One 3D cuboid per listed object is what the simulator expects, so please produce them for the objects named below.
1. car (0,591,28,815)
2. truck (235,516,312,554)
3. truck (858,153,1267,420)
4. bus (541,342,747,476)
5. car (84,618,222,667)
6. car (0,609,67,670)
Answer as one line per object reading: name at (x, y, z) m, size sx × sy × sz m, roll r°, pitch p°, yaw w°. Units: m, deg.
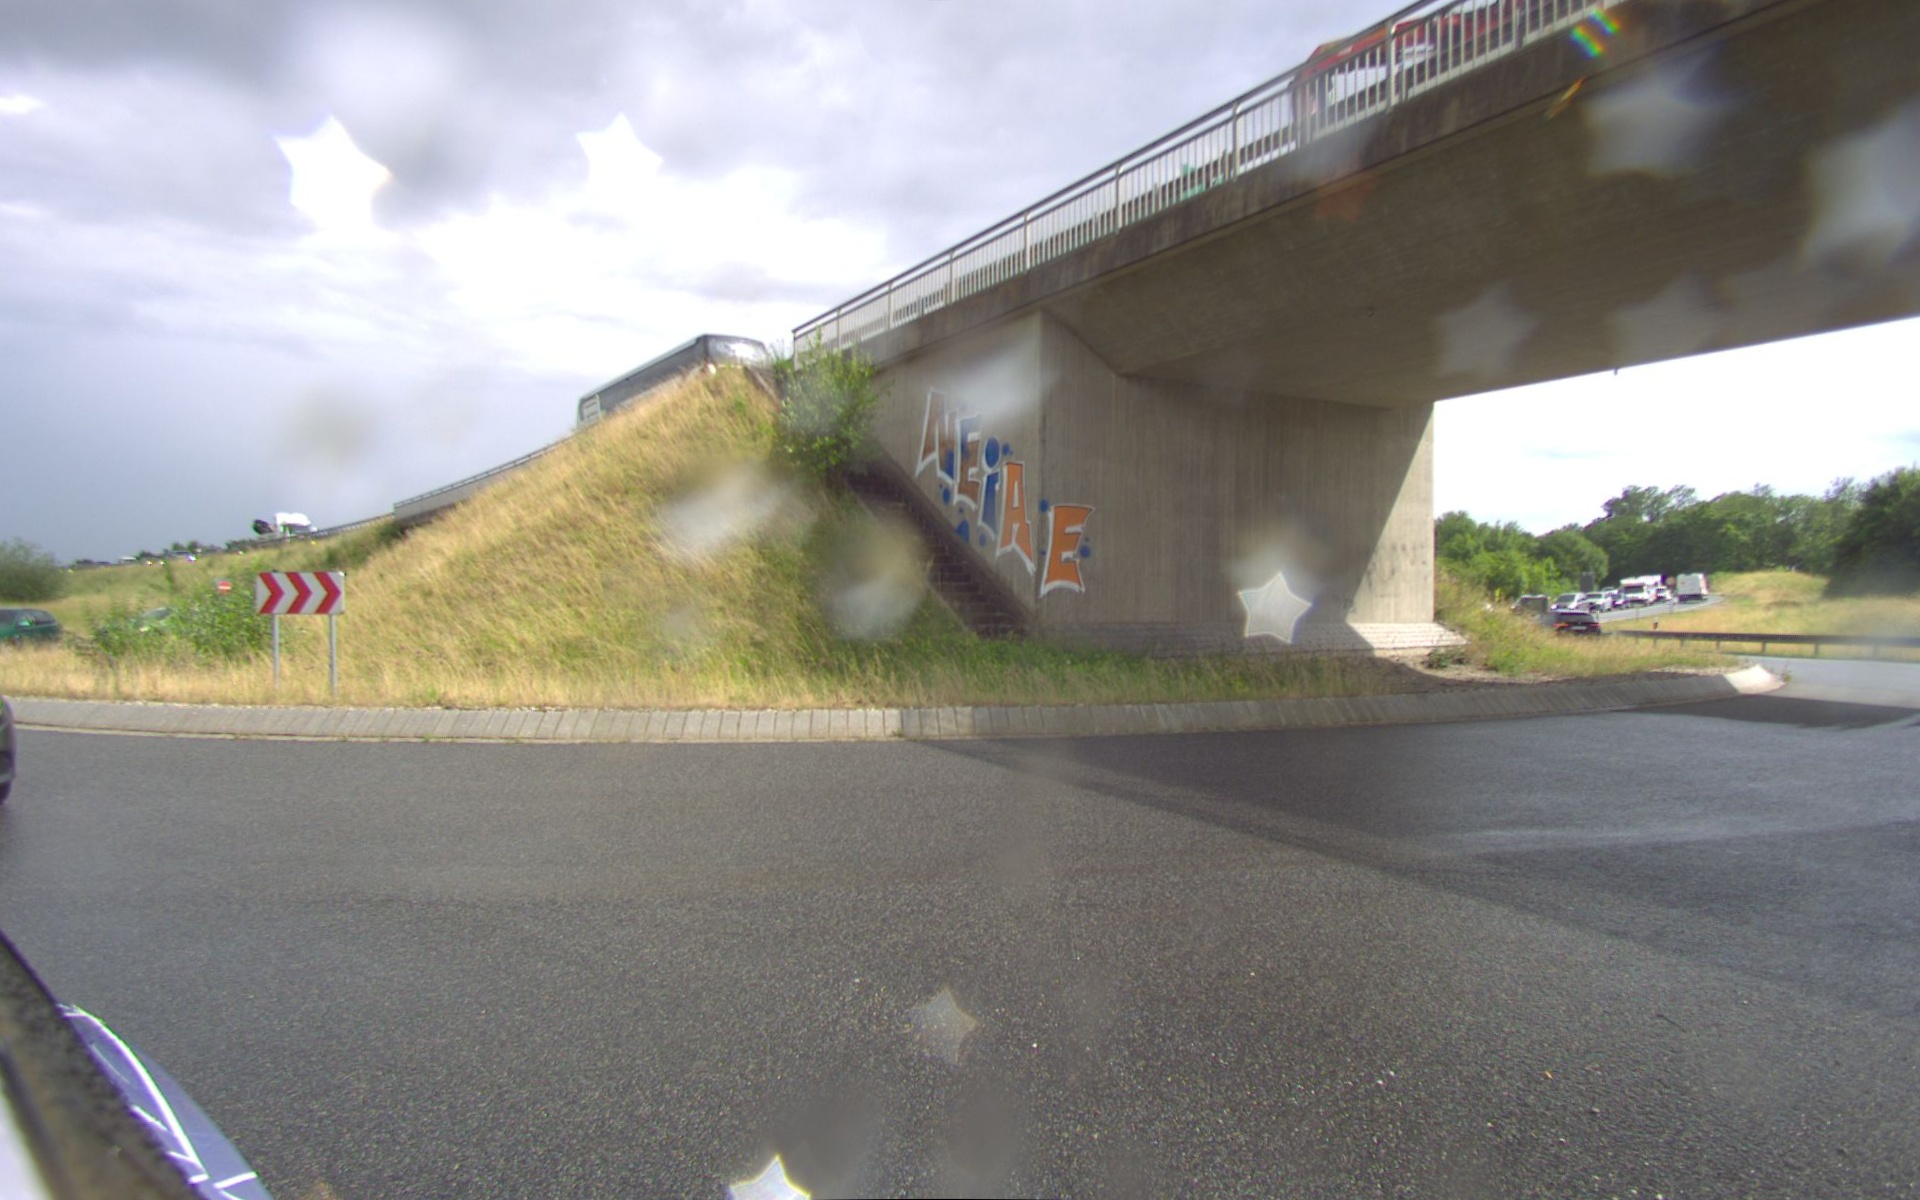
car at (-8.303, 0.700, 6.937) m, size 4.577 × 1.402 × 1.752 m, roll -2°, pitch -1°, yaw 33°
truck at (-67.077, -6.295, 98.776) m, size 9.257 × 3.218 × 3.124 m, roll 0°, pitch 1°, yaw 35°
truck at (1.541, -6.290, 22.435) m, size 2.171 × 2.895 × 10.849 m, roll -2°, pitch 1°, yaw -37°
bus at (-13.318, -7.340, 41.112) m, size 2.572 × 3.102 × 14.488 m, roll -2°, pitch 1°, yaw -40°
car at (-27.097, 1.394, 34.165) m, size 1.550 × 1.548 × 3.928 m, roll 0°, pitch -1°, yaw 0°
car at (-25.186, 1.006, 26.490) m, size 1.744 × 1.496 × 3.846 m, roll 0°, pitch -1°, yaw -26°
